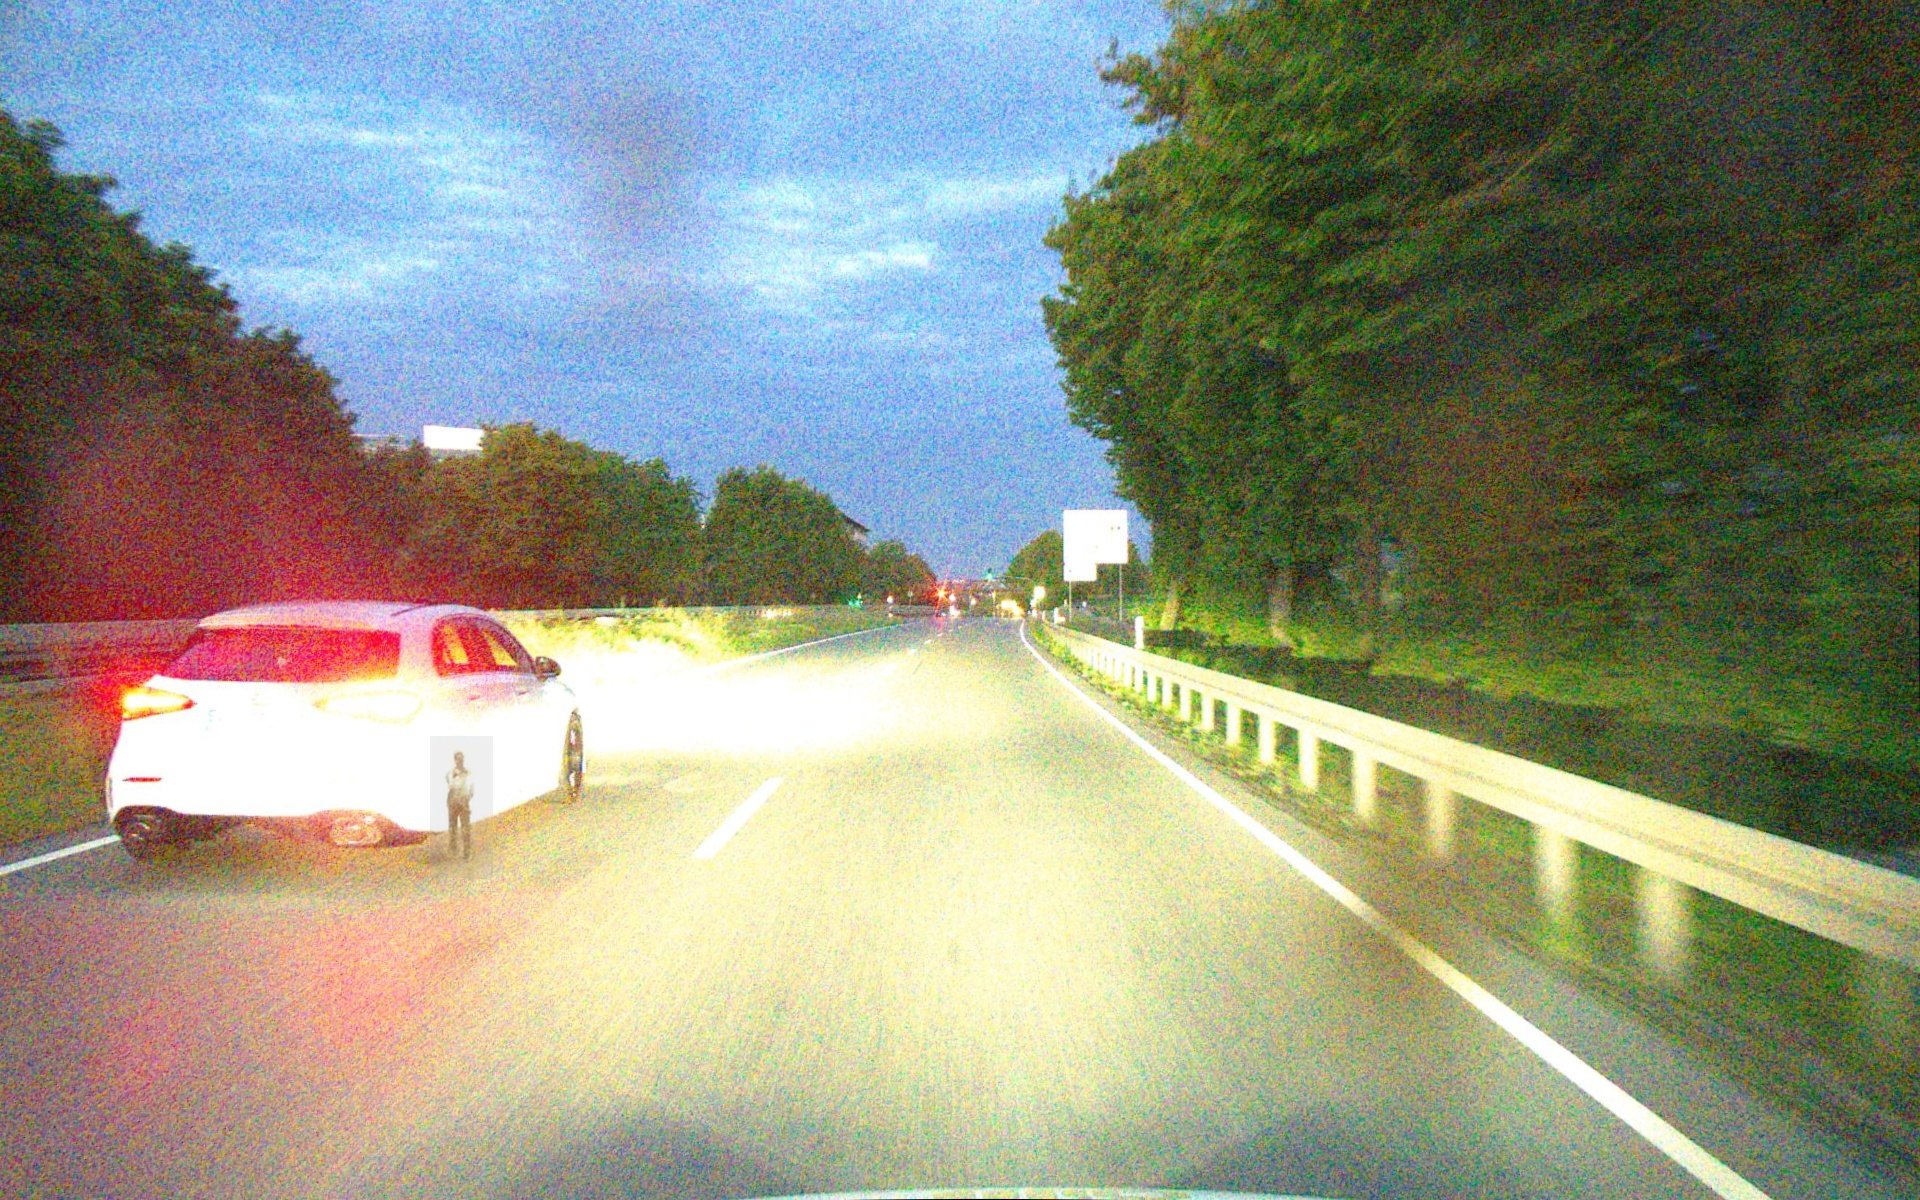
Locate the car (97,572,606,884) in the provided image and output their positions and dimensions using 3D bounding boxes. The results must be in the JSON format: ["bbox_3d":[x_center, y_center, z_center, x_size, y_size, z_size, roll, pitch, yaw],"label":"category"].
[{"bbox_3d":[-3.474,0.631,10.421,1.609,1.516,4.578,1,0,-2],"label":"car"}]

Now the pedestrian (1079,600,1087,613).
[{"bbox_3d":[16.548,0.887,222.537,1.068,1.753,1.260,1,-1,1],"label":"pedestrian"}]
